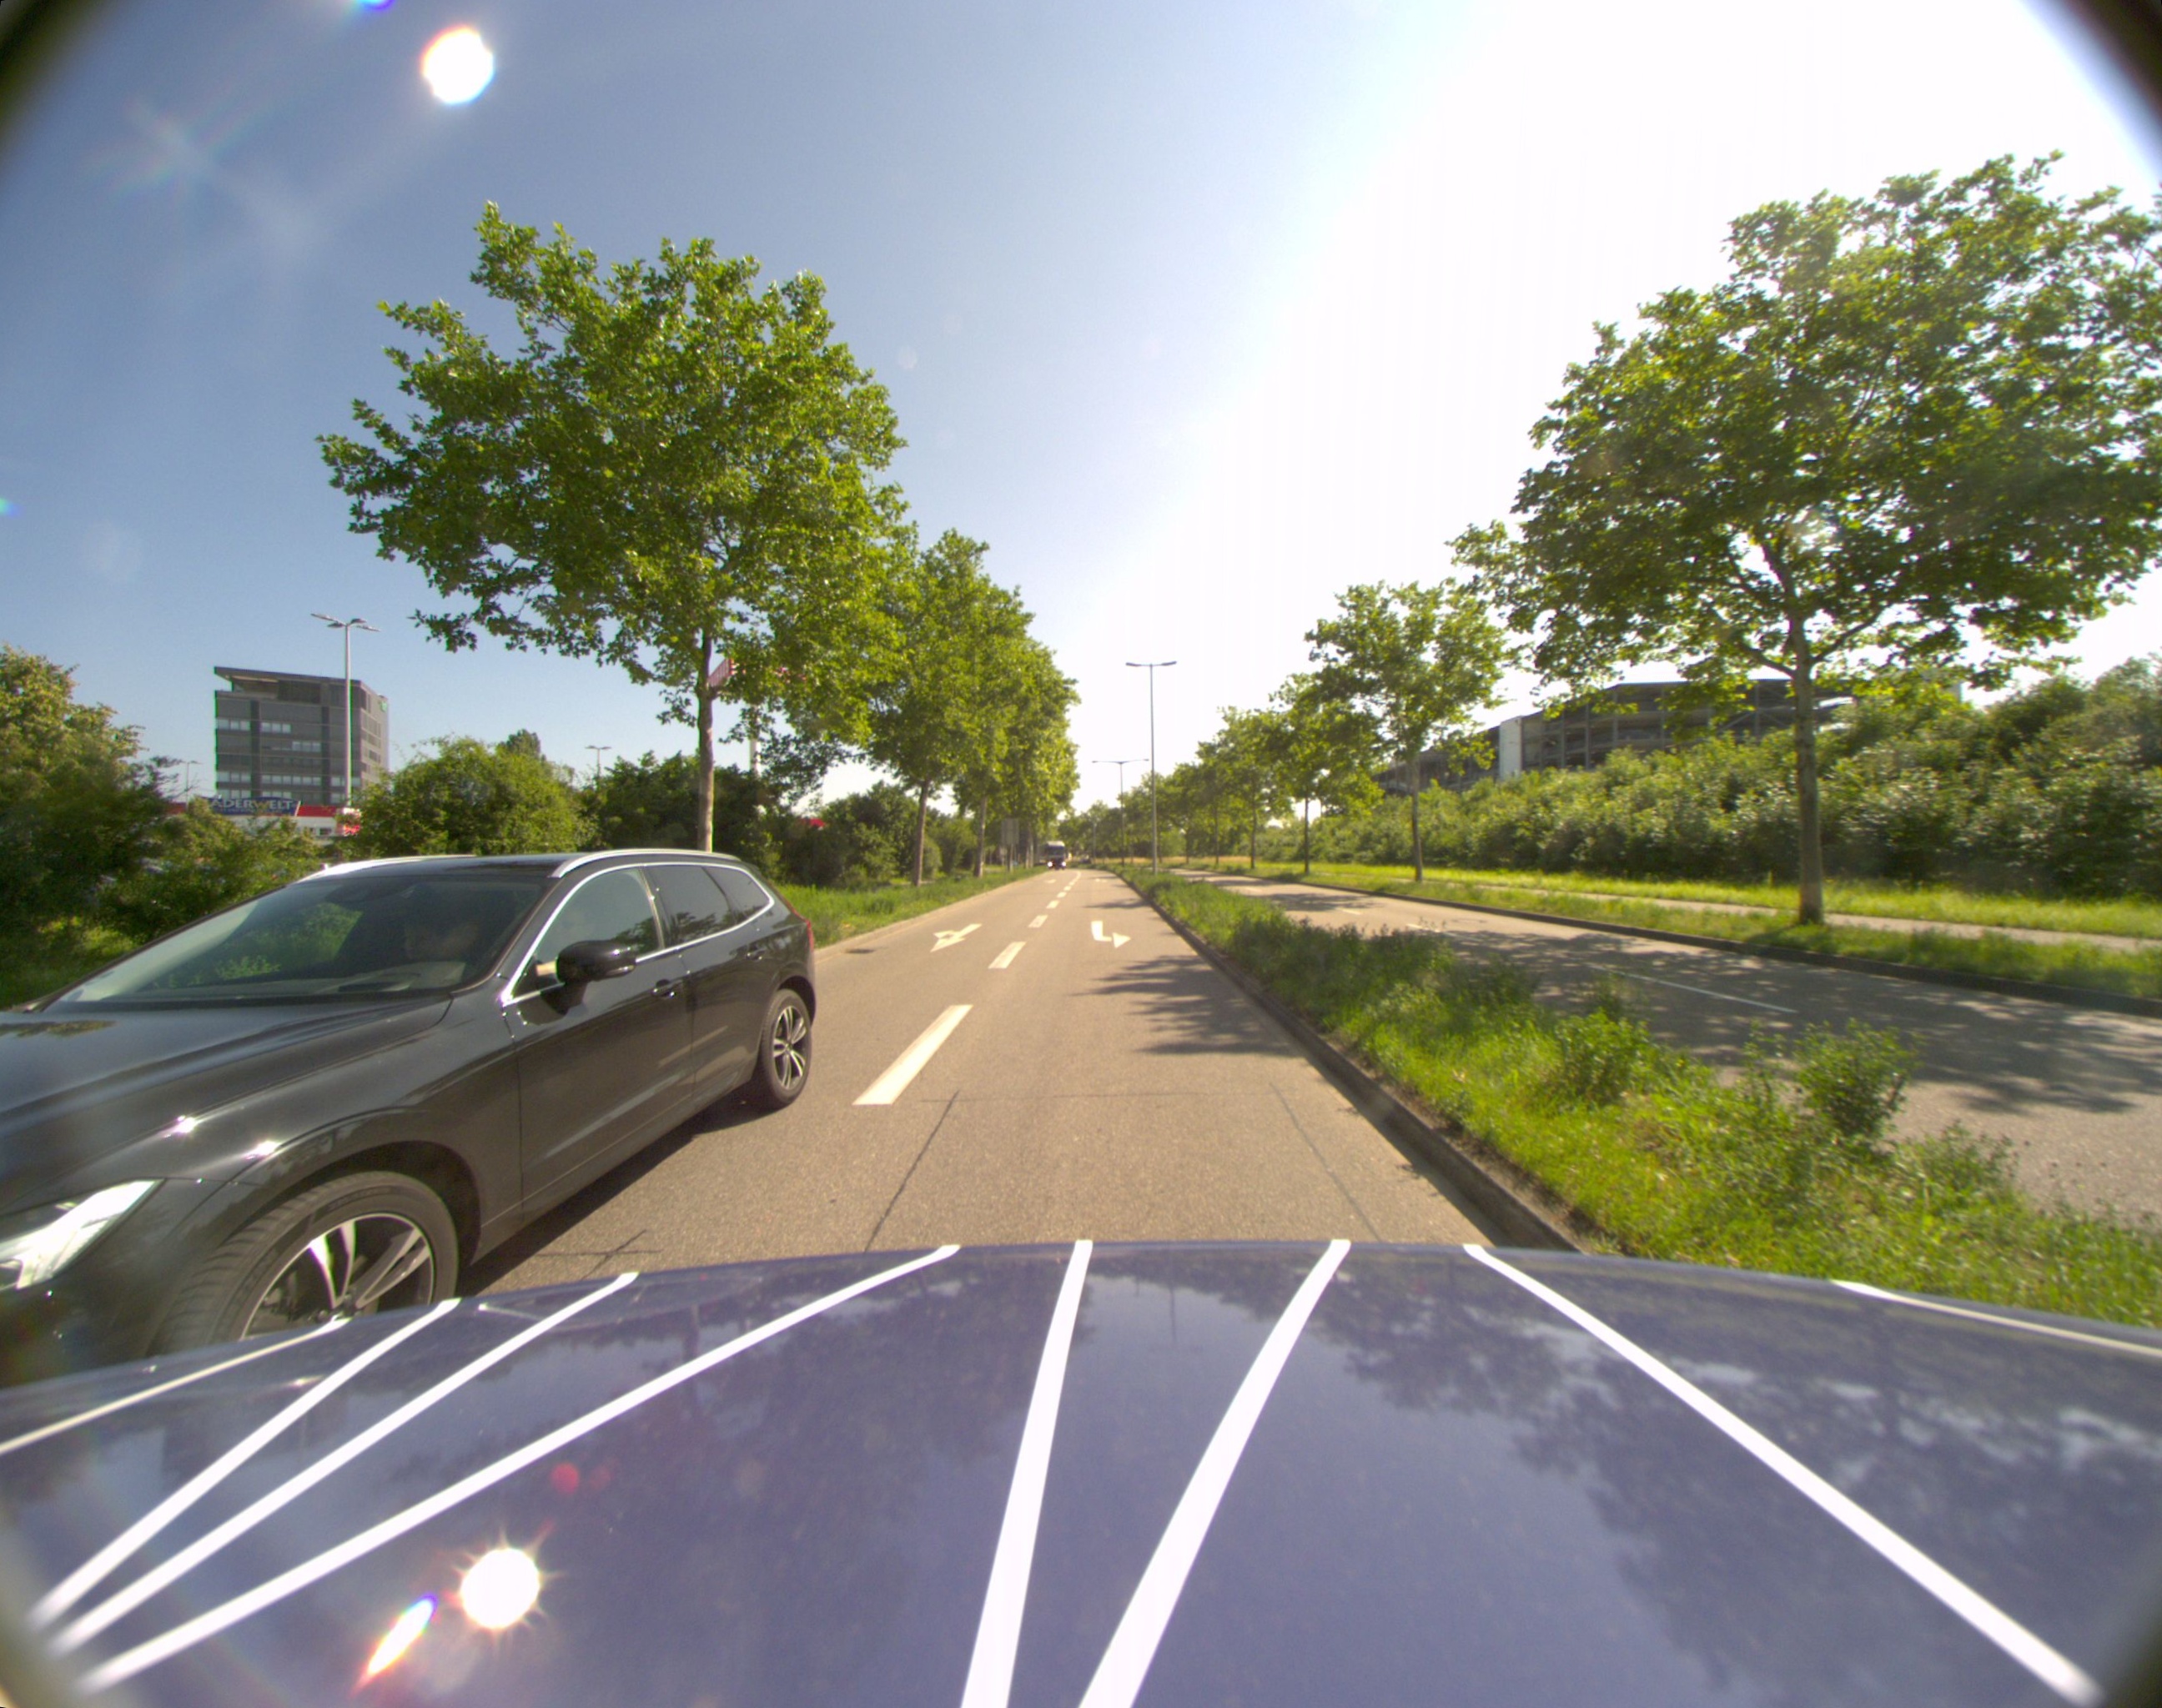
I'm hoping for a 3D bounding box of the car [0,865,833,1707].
[{"bbox_3d":[-2.782,0.938,3.181,1.924,1.613,4.564,-2,1,0],"label":"car"}]

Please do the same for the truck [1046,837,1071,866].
[{"bbox_3d":[-3.175,-0.394,105.345,2.743,3.872,5.847,-2,1,-8],"label":"truck"}]
